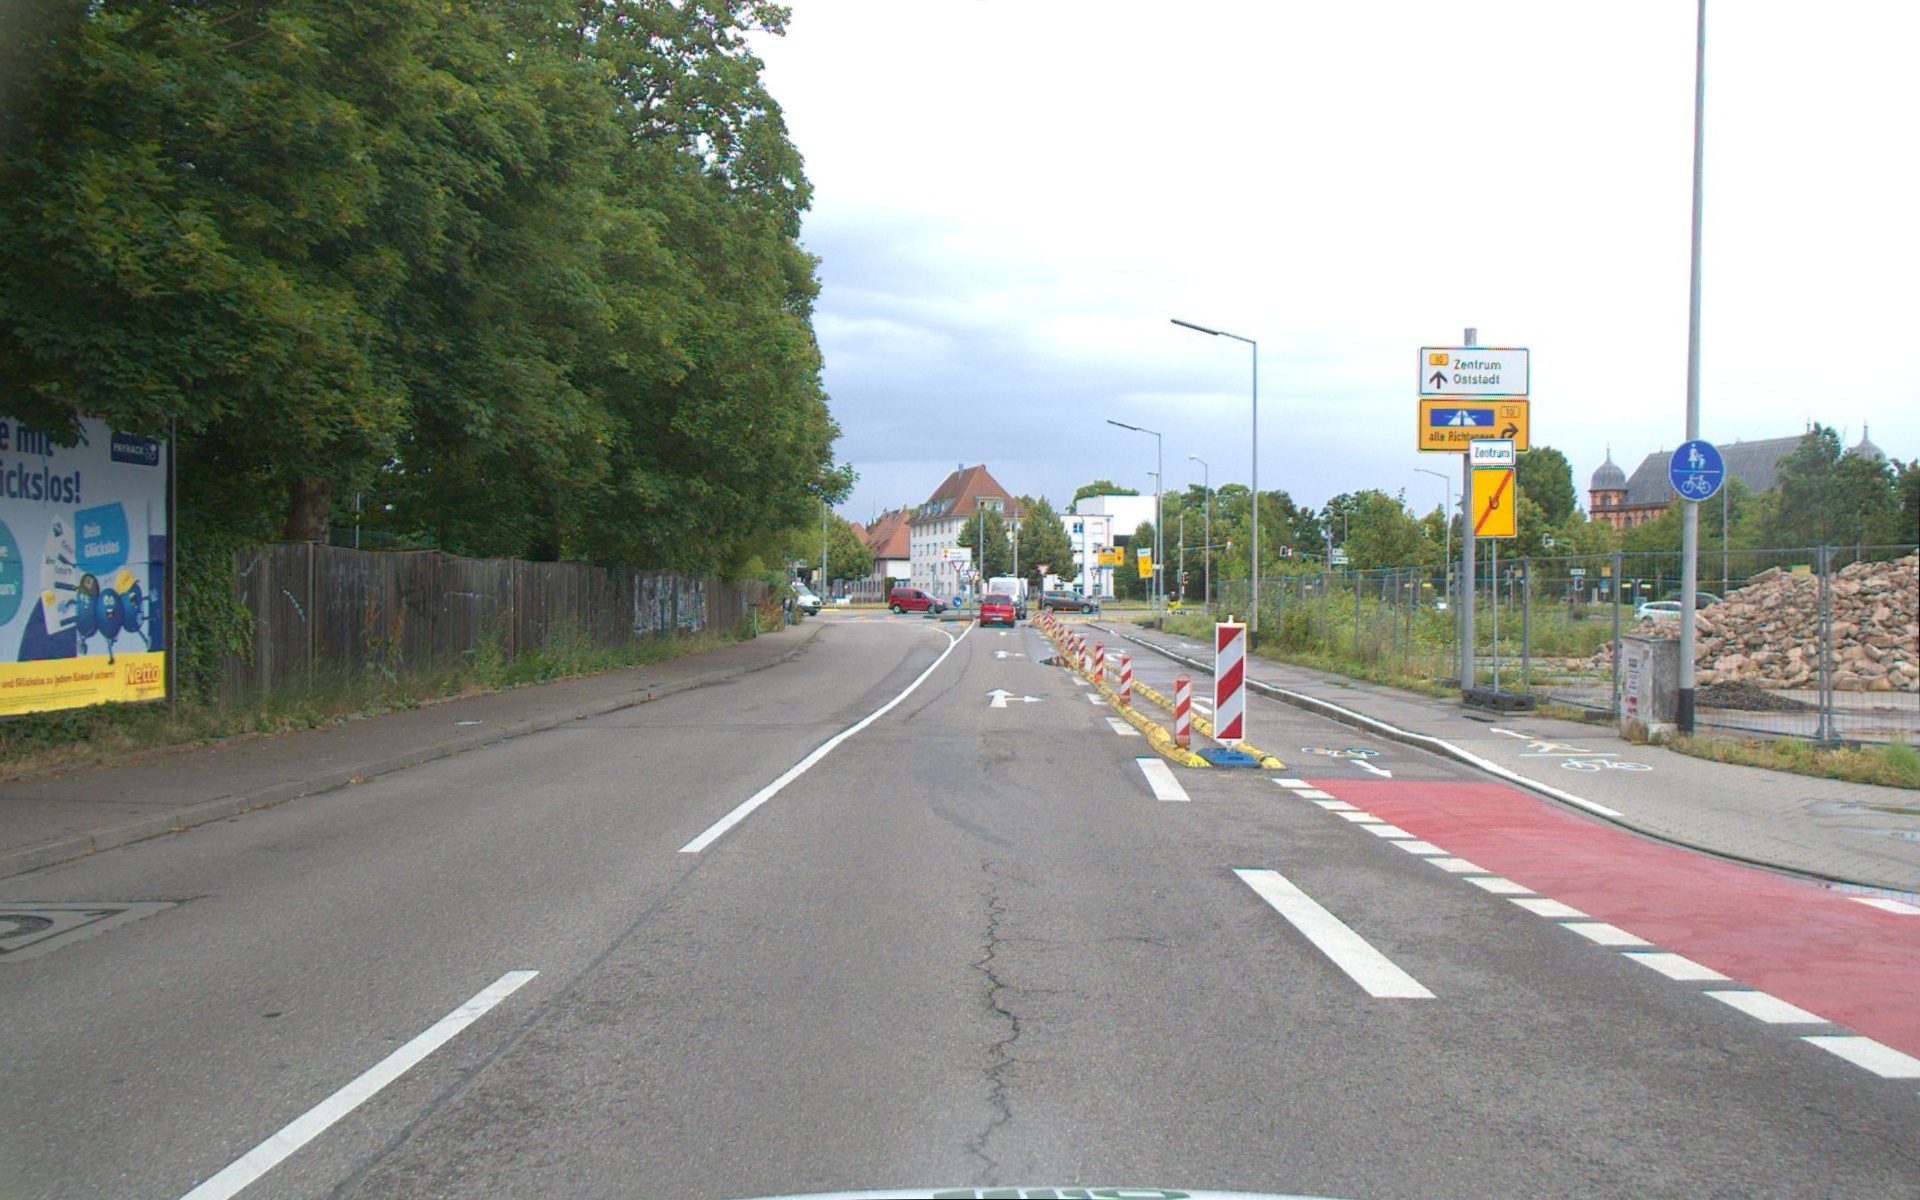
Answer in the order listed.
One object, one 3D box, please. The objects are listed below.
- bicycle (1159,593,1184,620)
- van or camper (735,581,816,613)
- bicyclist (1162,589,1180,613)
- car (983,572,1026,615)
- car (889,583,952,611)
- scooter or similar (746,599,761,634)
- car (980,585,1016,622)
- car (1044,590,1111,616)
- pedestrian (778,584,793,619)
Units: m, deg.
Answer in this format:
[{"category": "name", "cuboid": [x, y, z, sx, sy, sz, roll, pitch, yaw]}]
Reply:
[{"category": "bicycle", "cuboid": [12.610, 0.391, 98.803, 1.446, 1.640, 0.606, 0, 0, 4]}, {"category": "van or camper", "cuboid": [-12.921, -0.211, 115.723, 5.426, 2.152, 1.998, 0, 0, 27]}, {"category": "bicyclist", "cuboid": [12.609, 0.030, 98.801, 1.039, 1.426, 0.615, 0, 0, 4]}, {"category": "car", "cuboid": [2.813, -0.389, 103.144, 2.148, 2.584, 4.966, 1, 0, 7]}, {"category": "car", "cuboid": [-2.813, -0.213, 118.378, 4.105, 1.951, 2.117, 0, 0, 12]}, {"category": "scooter or similar", "cuboid": [-7.104, 0.553, 56.958, 0.414, 1.191, 1.302, 0, 0, -4]}, {"category": "car", "cuboid": [1.836, 0.160, 79.612, 1.639, 1.669, 3.628, 1, 0, 2]}, {"category": "car", "cuboid": [8.324, 0.179, 117.695, 4.530, 1.827, 2.101, 0, 0, 44]}, {"category": "pedestrian", "cuboid": [-7.791, 0.071, 73.830, 0.600, 1.556, 0.723, 0, 0, -3]}]
